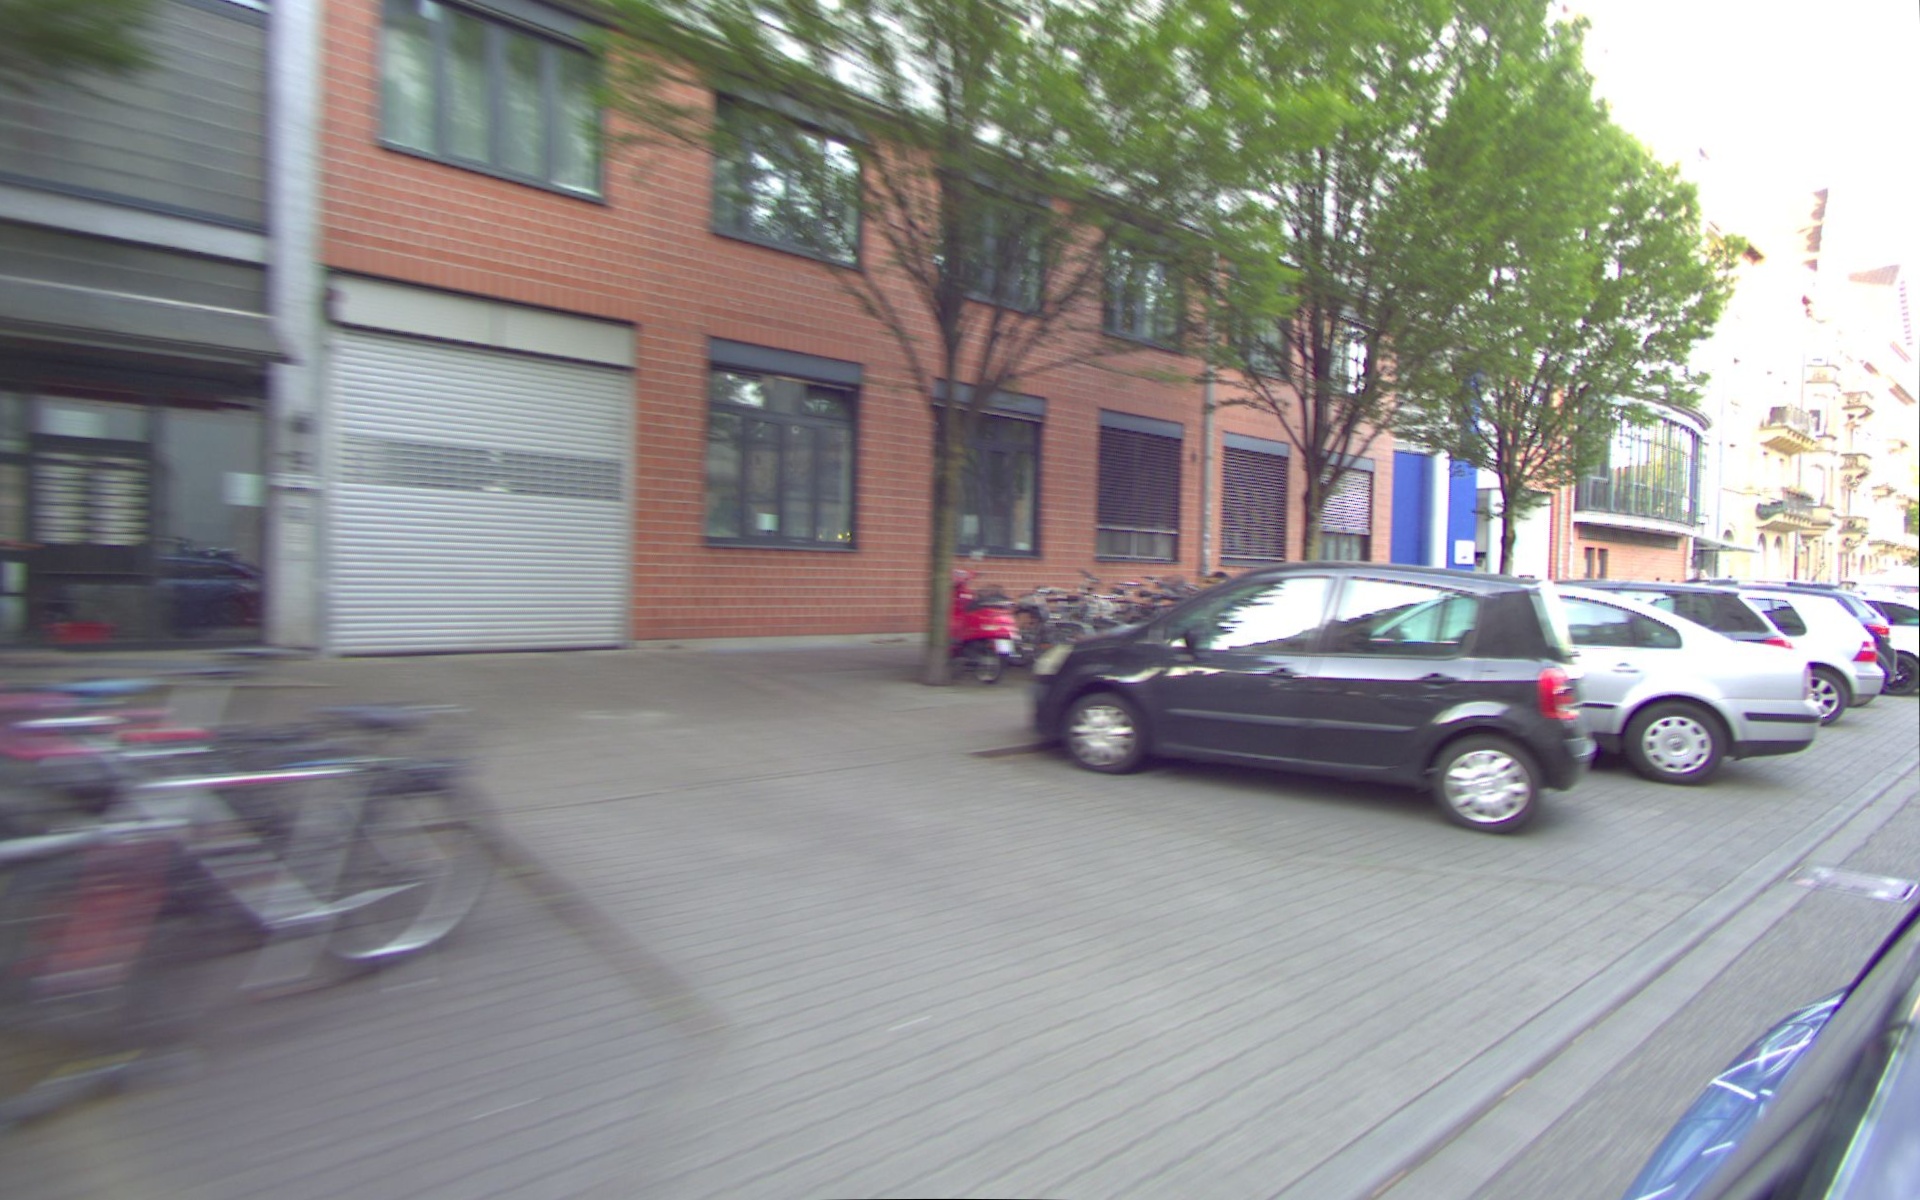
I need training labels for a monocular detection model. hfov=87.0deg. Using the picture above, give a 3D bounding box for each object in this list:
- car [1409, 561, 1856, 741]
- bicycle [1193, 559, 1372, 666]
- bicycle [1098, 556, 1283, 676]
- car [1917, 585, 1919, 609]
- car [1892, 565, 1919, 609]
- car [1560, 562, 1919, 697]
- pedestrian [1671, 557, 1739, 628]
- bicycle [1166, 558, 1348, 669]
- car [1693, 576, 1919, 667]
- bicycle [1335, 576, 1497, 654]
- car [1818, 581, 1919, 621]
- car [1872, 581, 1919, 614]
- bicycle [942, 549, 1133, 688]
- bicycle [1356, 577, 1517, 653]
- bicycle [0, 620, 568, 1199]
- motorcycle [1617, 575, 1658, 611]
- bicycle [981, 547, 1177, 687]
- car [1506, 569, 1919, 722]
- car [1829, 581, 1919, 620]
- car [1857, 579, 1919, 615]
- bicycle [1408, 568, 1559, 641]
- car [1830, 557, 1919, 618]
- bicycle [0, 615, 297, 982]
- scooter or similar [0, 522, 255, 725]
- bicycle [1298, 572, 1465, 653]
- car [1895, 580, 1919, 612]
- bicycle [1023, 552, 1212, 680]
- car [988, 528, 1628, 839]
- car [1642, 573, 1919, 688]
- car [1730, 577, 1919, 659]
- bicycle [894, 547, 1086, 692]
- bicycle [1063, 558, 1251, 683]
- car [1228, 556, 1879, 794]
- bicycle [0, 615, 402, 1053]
[{"bbox_3d":[6.683,0.416,10.527,3.564,1.553,1.551,2,2,23],"label":"car"},{"bbox_3d":[4.541,0.124,14.470,0.588,1.396,2.542,0,2,-37],"label":"bicycle"},{"bbox_3d":[2.914,0.145,13.127,0.588,1.396,2.542,0,2,-37],"label":"bicycle"},{"bbox_3d":[59.198,-0.040,59.145,4.189,1.470,1.994,3,3,12],"label":"car"},{"bbox_3d":[60.788,-0.679,61.422,5.789,2.581,2.192,3,4,10],"label":"car"},{"bbox_3d":[10.484,0.324,13.820,3.557,1.600,1.707,2,2,18],"label":"car"},{"bbox_3d":[22.117,-0.229,30.059,0.842,2.022,0.613,-1,29,-39],"label":"pedestrian"},{"bbox_3d":[4.024,0.131,13.994,0.588,1.396,2.542,0,2,-37],"label":"bicycle"},{"bbox_3d":[16.411,0.370,18.882,3.946,1.490,1.866,2,3,18],"label":"car"},{"bbox_3d":[7.674,0.217,17.196,0.551,1.181,2.542,0,2,-37],"label":"bicycle"},{"bbox_3d":[37.953,0.032,41.335,4.018,1.510,1.713,2,2,20],"label":"car"},{"bbox_3d":[49.746,-0.059,51.846,4.000,1.516,1.747,4,3,15],"label":"car"},{"bbox_3d":[0.787,0.138,11.355,0.588,1.396,2.542,0,2,-37],"label":"bicycle"},{"bbox_3d":[8.199,0.224,17.568,0.551,1.181,2.542,0,2,-37],"label":"bicycle"},{"bbox_3d":[-2.080,0.683,2.956,0.686,1.121,1.846,1,3,21],"label":"bicycle"},{"bbox_3d":[21.976,-0.231,32.798,2.049,1.116,0.589,-1,5,-44],"label":"motorcycle"},{"bbox_3d":[1.291,0.128,11.759,0.588,1.259,2.545,0,7,-37],"label":"bicycle"},{"bbox_3d":[8.597,0.434,11.950,3.565,1.500,1.710,2,2,23],"label":"car"},{"bbox_3d":[39.899,0.029,42.833,4.307,1.521,1.899,2,2,23],"label":"car"},{"bbox_3d":[44.119,-0.051,46.130,4.345,1.504,1.832,4,3,20],"label":"car"},{"bbox_3d":[9.609,0.045,18.694,0.667,1.112,2.355,0,5,-37],"label":"bicycle"},{"bbox_3d":[41.687,-0.557,44.565,4.669,2.578,1.905,2,2,22],"label":"car"},{"bbox_3d":[-3.336,0.668,3.424,0.552,1.121,1.846,1,3,21],"label":"bicycle"},{"bbox_3d":[-5.724,0.137,6.647,1.739,1.231,0.470,0,7,-29],"label":"scooter or similar"},{"bbox_3d":[6.767,0.154,16.409,0.551,1.181,2.542,0,2,-37],"label":"bicycle"},{"bbox_3d":[52.403,-0.092,53.363,4.037,1.626,1.810,3,3,13],"label":"car"},{"bbox_3d":[1.817,0.122,12.218,0.588,1.396,2.542,0,2,-37],"label":"bicycle"},{"bbox_3d":[2.363,0.372,7.338,3.968,1.656,1.740,3,2,31],"label":"car"},{"bbox_3d":[13.000,0.424,15.453,3.950,1.556,1.625,2,1,20],"label":"car"},{"bbox_3d":[18.400,0.346,20.572,3.952,1.525,1.758,2,2,21],"label":"car"},{"bbox_3d":[0.247,0.140,10.926,0.588,1.396,2.542,0,2,-37],"label":"bicycle"},{"bbox_3d":[2.384,0.190,12.633,0.588,1.396,2.542,0,2,-37],"label":"bicycle"},{"bbox_3d":[4.694,0.455,8.704,4.344,1.553,1.791,2,2,27],"label":"car"},{"bbox_3d":[-2.775,0.668,3.203,0.552,1.121,1.846,1,3,21],"label":"bicycle"}]
